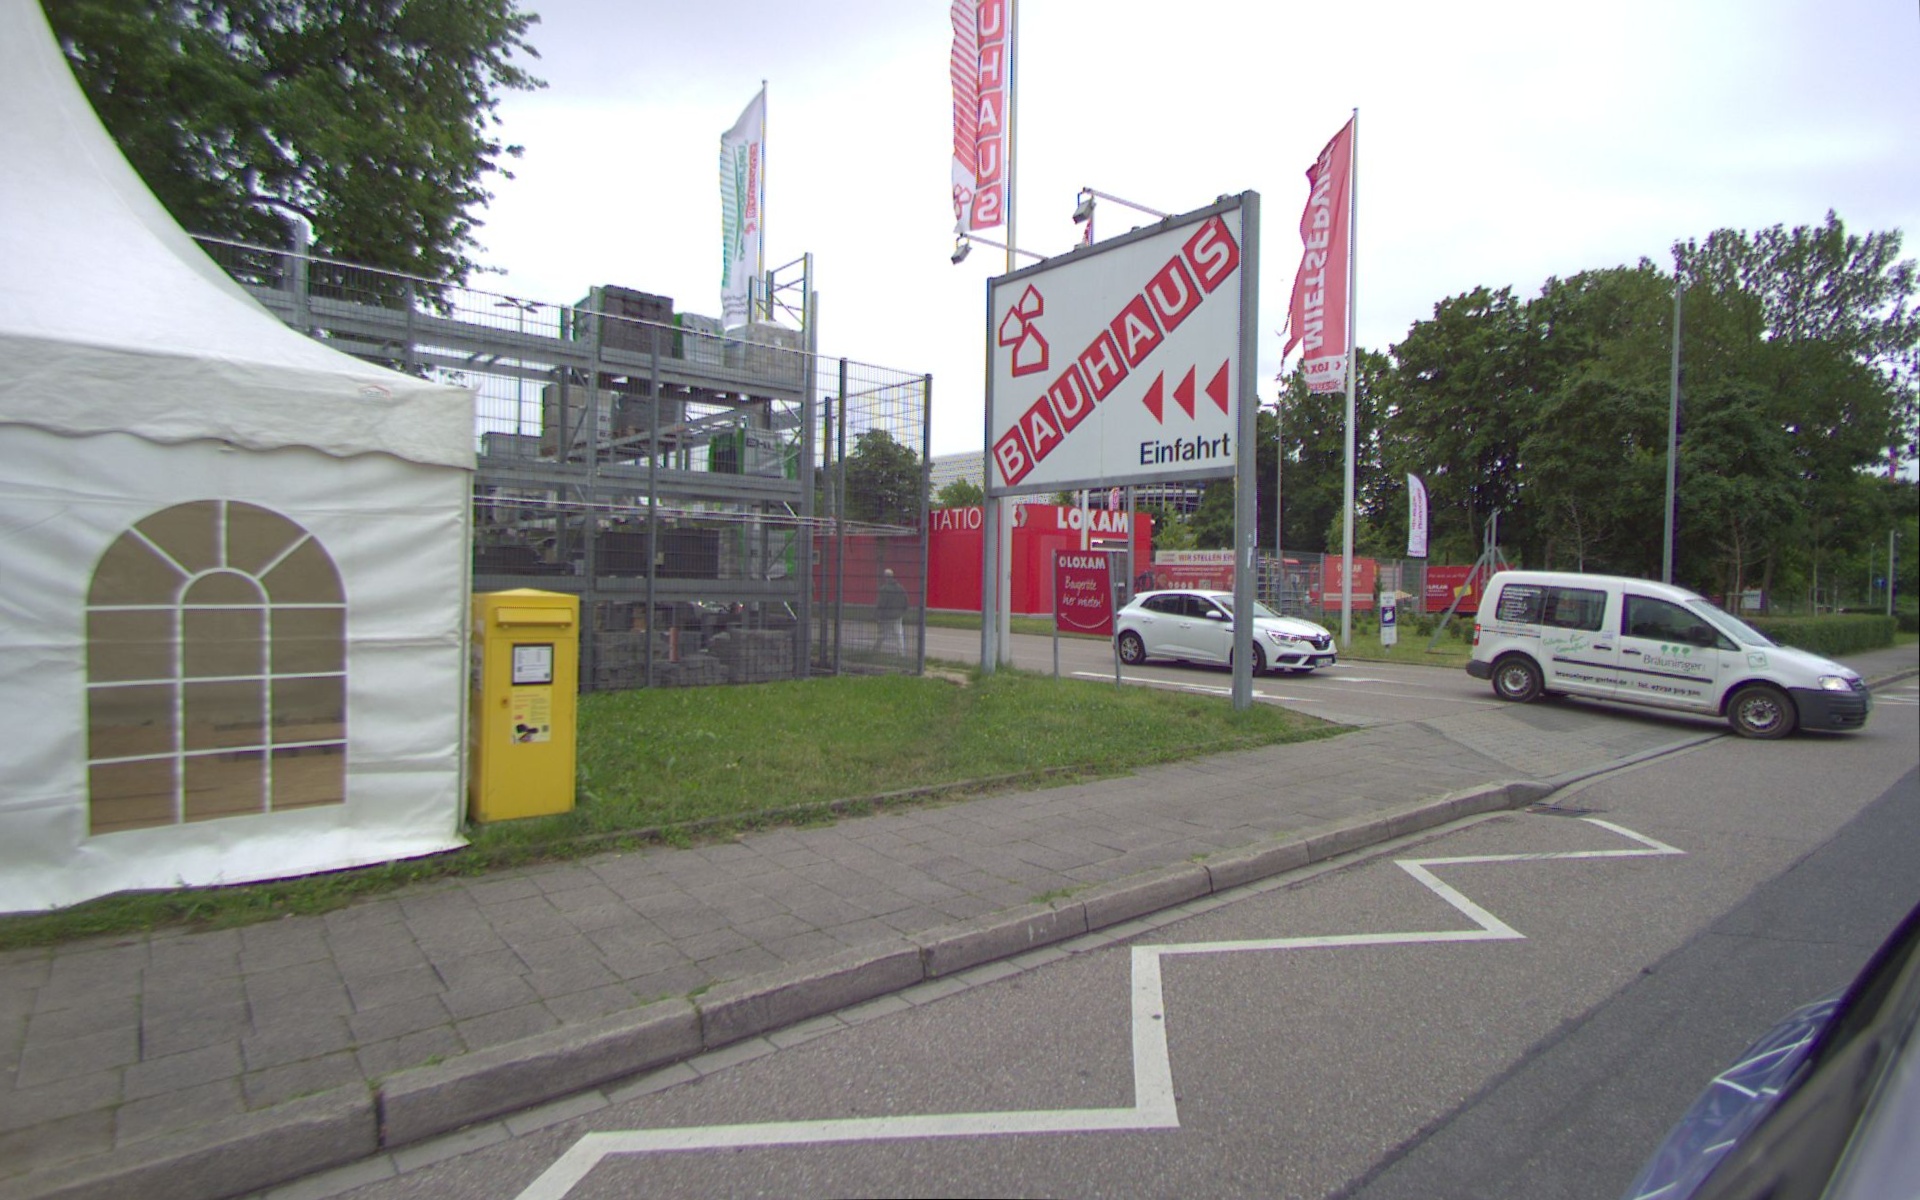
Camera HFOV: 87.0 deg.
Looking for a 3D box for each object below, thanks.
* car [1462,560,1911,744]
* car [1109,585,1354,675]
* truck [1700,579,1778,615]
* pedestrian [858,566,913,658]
[{"bbox_3d":[9.182,0.494,13.135,1.769,1.829,4.379,0,4,-40],"label":"car"},{"bbox_3d":[4.810,0.451,18.395,1.699,1.438,4.112,0,1,-38],"label":"car"},{"bbox_3d":[55.045,-0.230,71.571,3.924,2.426,2.000,1,1,0],"label":"truck"},{"bbox_3d":[-1.477,0.219,20.048,0.727,1.765,0.870,0,1,-37],"label":"pedestrian"}]
